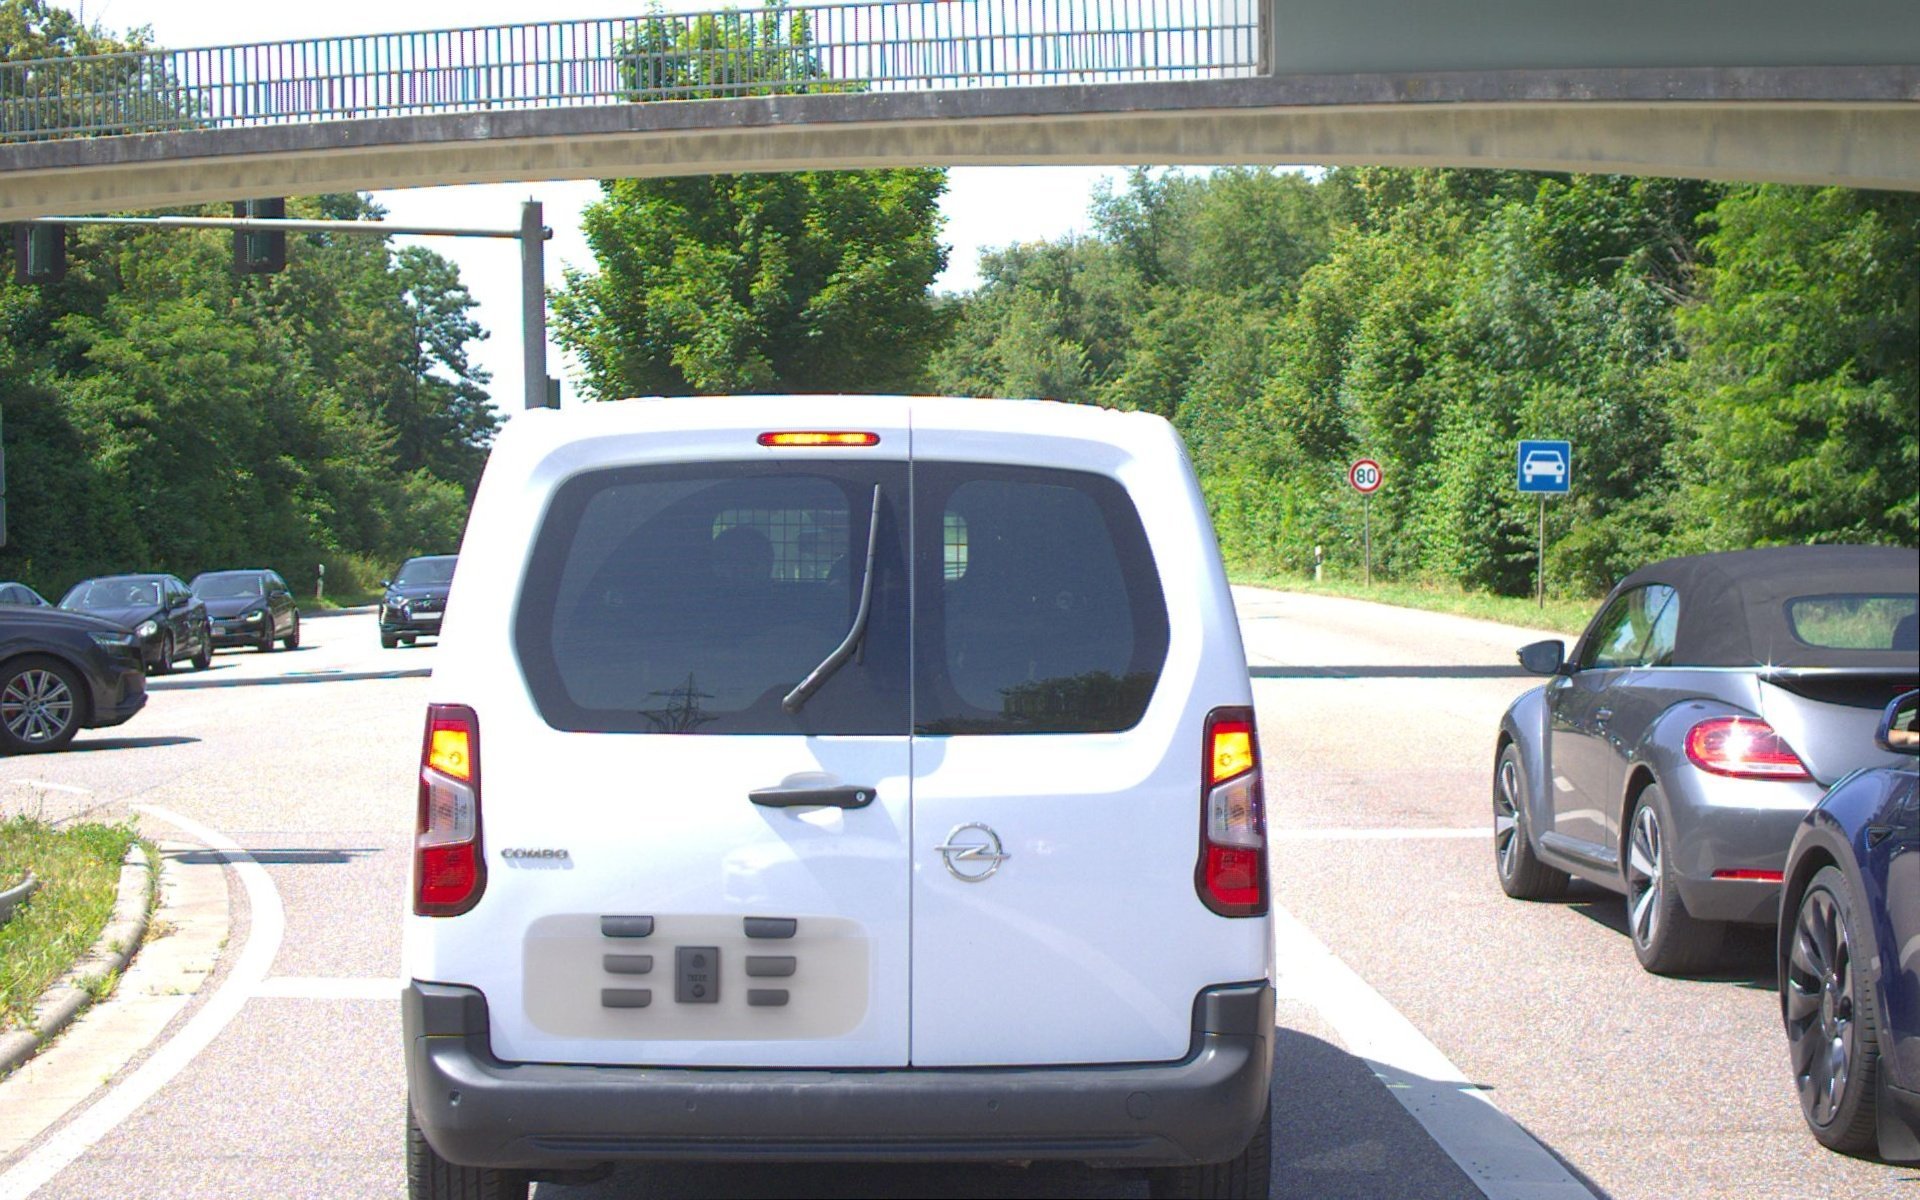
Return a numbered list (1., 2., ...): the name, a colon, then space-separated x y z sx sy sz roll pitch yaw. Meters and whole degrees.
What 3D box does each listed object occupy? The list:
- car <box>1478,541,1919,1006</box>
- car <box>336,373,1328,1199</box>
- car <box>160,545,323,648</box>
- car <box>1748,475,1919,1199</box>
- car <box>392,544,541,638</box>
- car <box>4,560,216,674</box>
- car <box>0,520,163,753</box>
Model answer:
1. car: 3.239 0.531 13.000 1.900 1.472 3.939 1 1 -1
2. car: -0.295 0.433 8.457 1.849 1.819 3.982 1 2 -2
3. car: -12.409 -0.096 59.581 1.993 1.659 4.000 -1 1 -1
4. car: 3.063 0.571 6.796 1.900 1.639 4.520 1 1 -1
5. car: -8.462 -0.184 59.242 1.993 1.518 4.028 1 1 -1
6. car: -12.063 0.211 49.025 2.008 1.455 4.055 -2 1 -1
7. car: -8.841 0.371 26.091 5.069 1.693 2.049 -3 1 -24
